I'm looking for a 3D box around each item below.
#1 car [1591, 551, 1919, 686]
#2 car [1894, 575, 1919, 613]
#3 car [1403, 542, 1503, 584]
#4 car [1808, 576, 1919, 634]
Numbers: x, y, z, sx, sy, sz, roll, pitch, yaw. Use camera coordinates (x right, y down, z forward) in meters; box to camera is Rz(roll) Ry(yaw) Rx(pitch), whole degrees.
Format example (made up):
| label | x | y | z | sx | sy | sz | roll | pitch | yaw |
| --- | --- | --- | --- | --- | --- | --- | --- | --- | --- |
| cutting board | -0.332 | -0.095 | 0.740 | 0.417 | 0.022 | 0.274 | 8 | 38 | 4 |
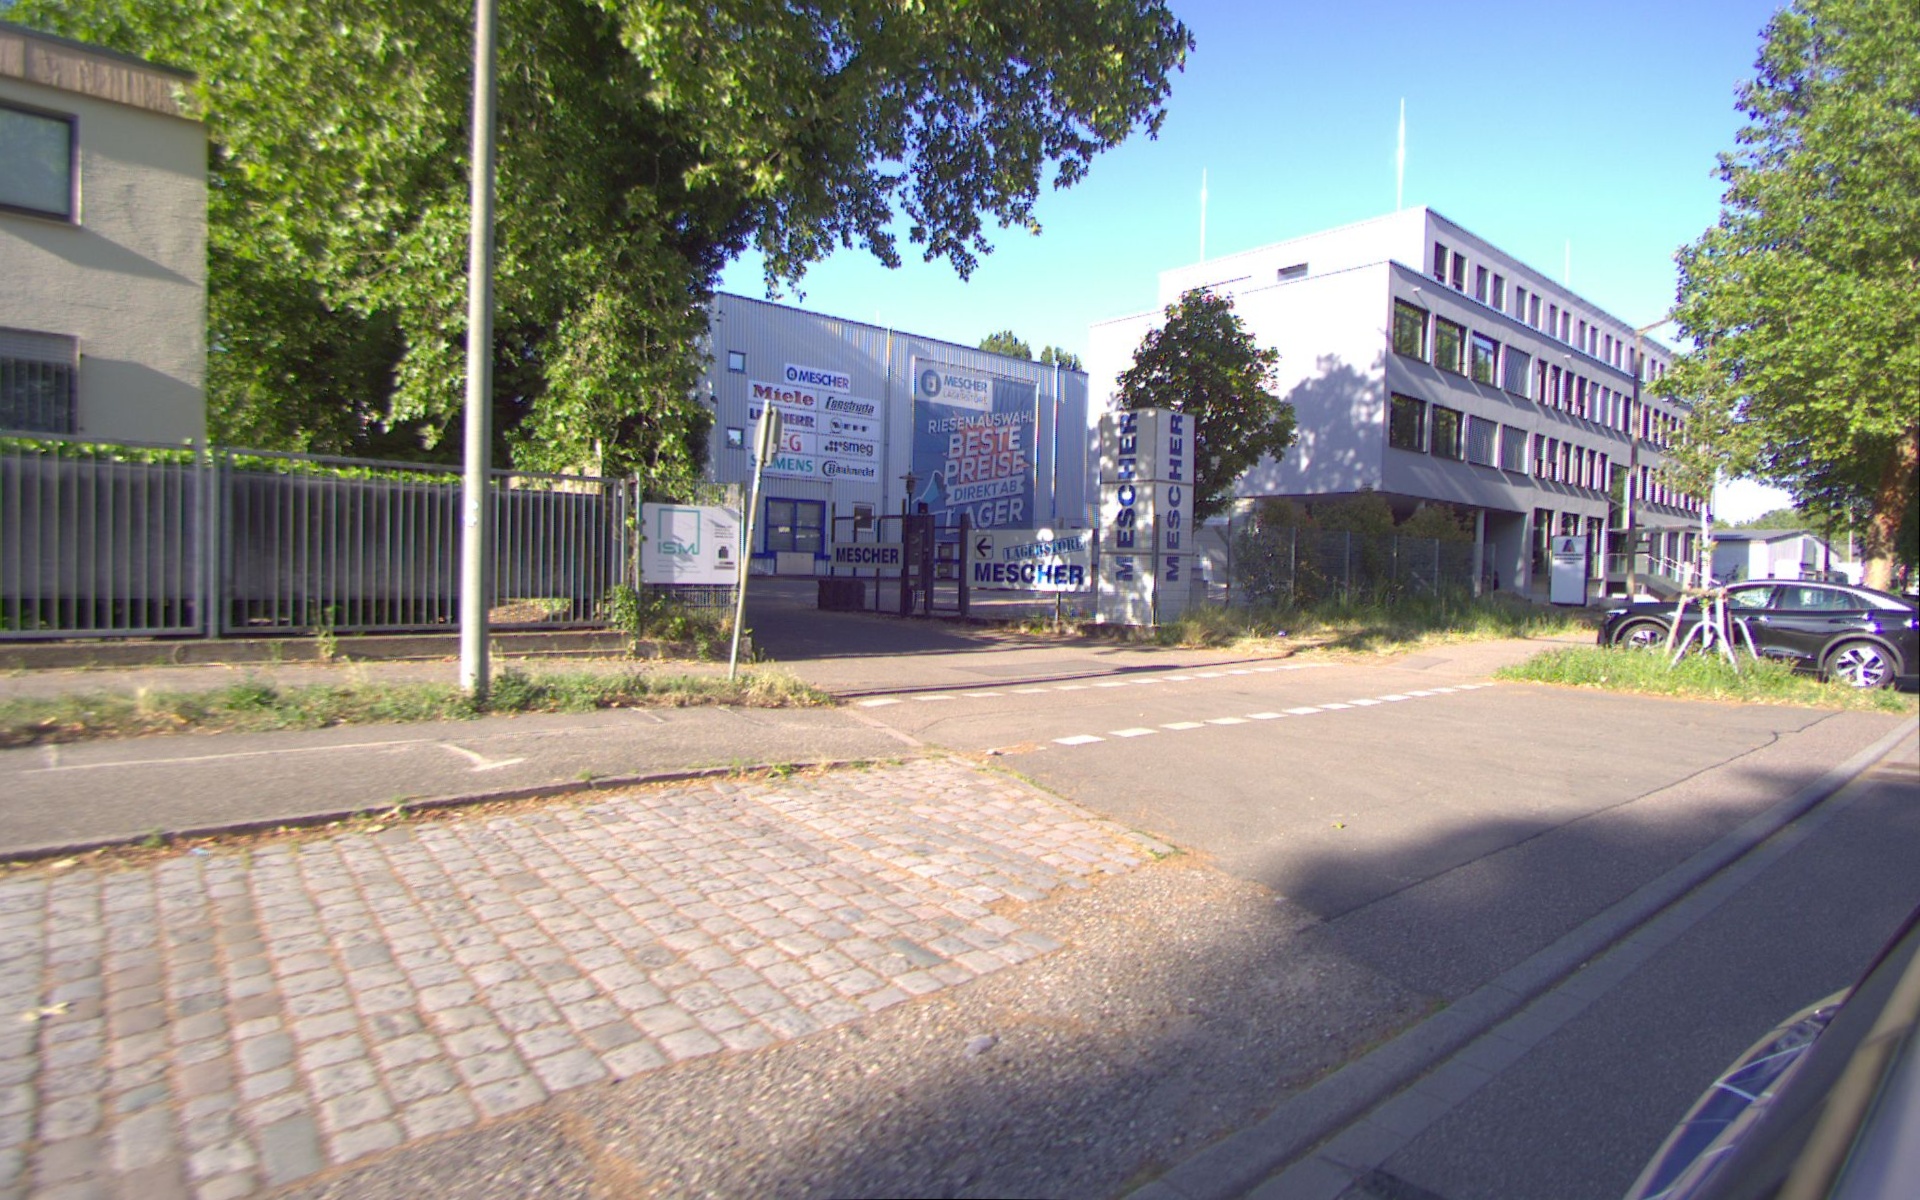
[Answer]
| label | x | y | z | sx | sy | sz | roll | pitch | yaw |
| --- | --- | --- | --- | --- | --- | --- | --- | --- | --- |
| car | 13.220 | 0.189 | 16.492 | 1.911 | 1.736 | 4.576 | -1 | 6 | -44 |
| car | 40.876 | -0.094 | 40.950 | 1.829 | 1.503 | 4.294 | -1 | 7 | -42 |
| car | 21.445 | -1.581 | 43.986 | 4.581 | 1.753 | 2.000 | -1 | 1 | -36 |
| car | 27.406 | 0.155 | 29.558 | 1.829 | 1.504 | 3.792 | -1 | 4 | -42 |
